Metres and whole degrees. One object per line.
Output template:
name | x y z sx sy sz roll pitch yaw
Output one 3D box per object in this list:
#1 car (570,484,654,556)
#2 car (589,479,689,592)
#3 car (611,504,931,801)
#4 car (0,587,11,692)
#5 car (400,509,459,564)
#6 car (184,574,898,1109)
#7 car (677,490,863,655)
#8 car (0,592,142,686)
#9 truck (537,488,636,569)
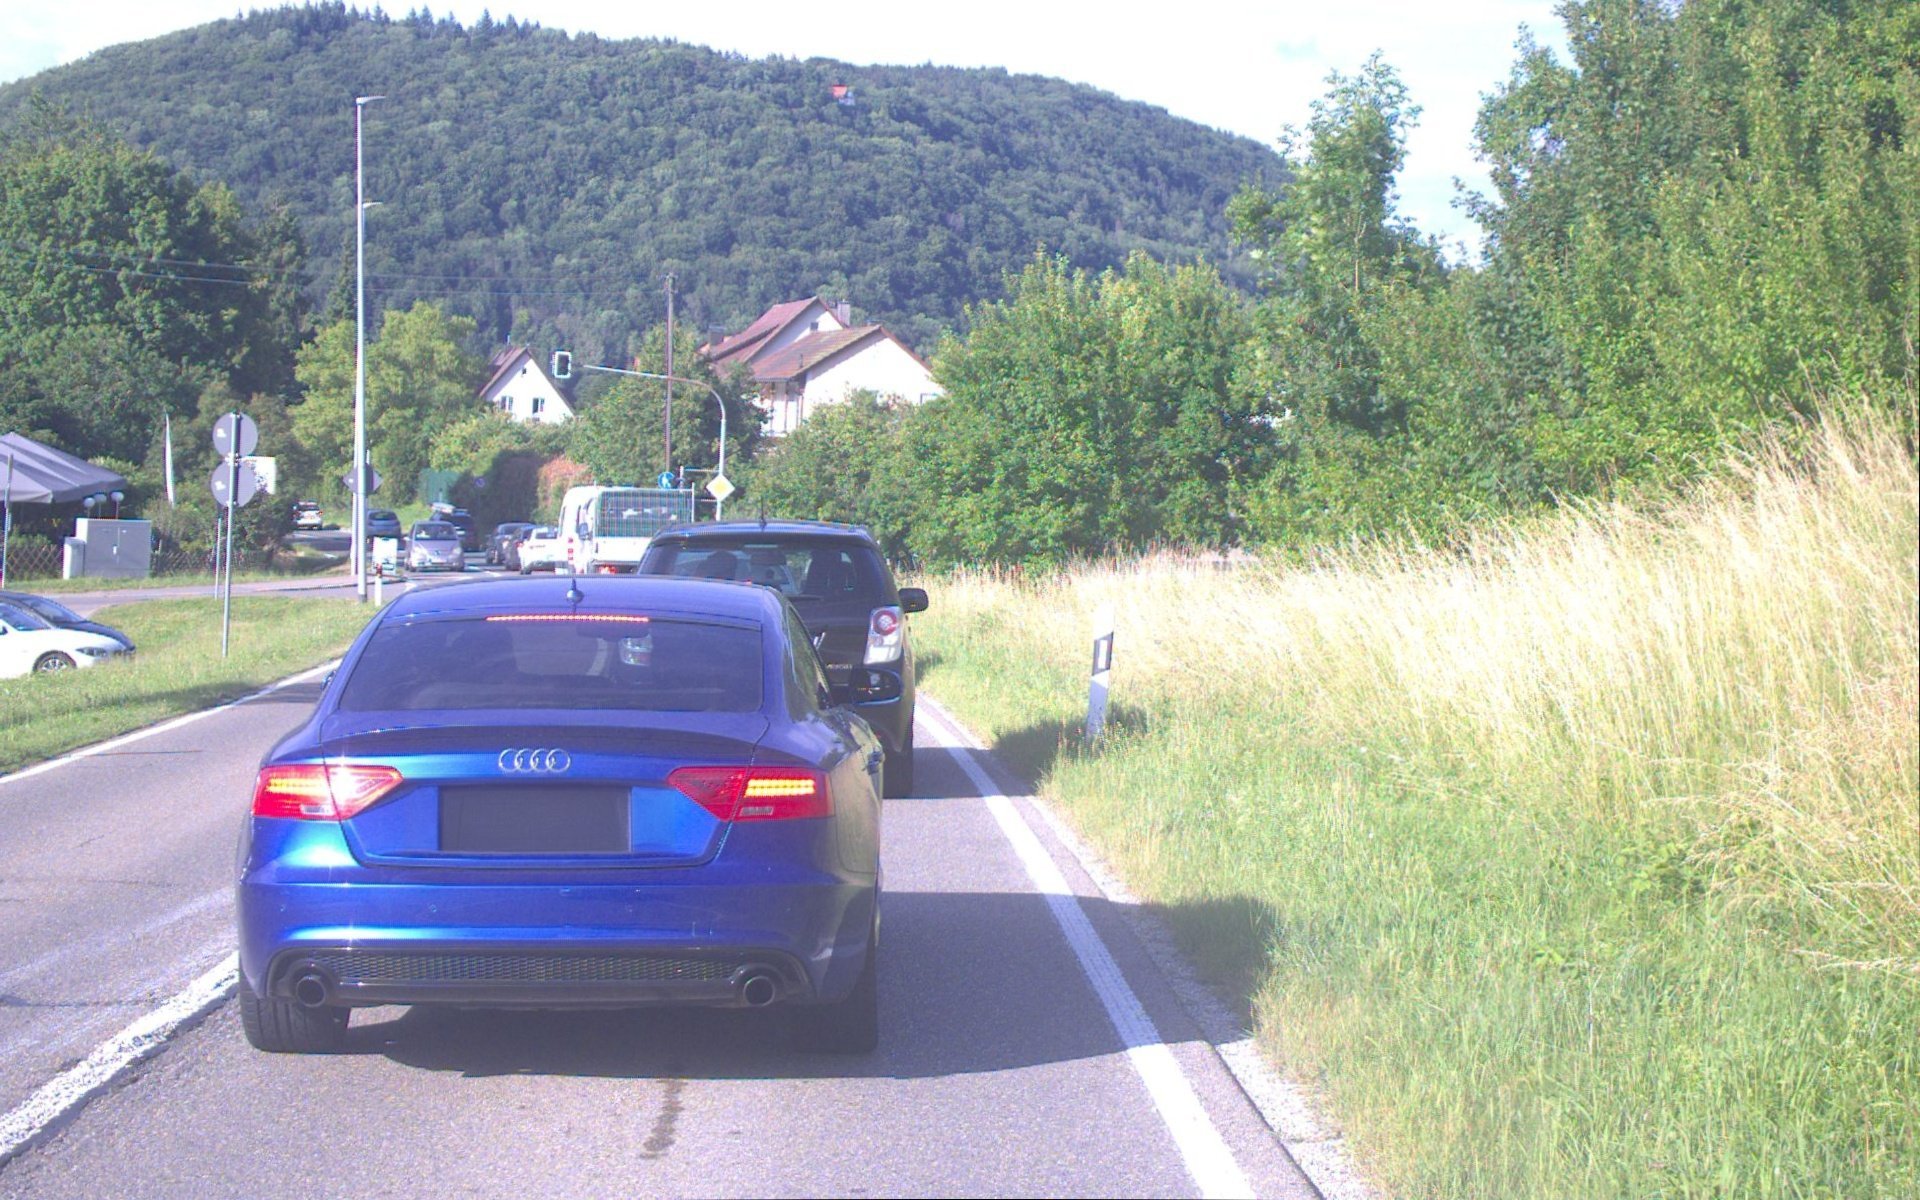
car | -8.257 -1.877 81.382 1.745 1.634 4.001 1 0 -9
car | -6.507 -1.291 69.341 1.745 2.188 4.001 1 0 -9
car | -1.070 0.275 21.169 1.746 1.634 4.000 1 0 0
car | -16.980 0.588 53.066 4.026 1.631 1.999 1 0 8
car | -16.476 -1.964 106.649 1.734 1.656 3.472 1 0 -9
car | -1.124 0.613 10.927 1.795 1.383 4.000 0 0 0
car | -1.974 -0.296 36.807 1.804 1.634 4.463 1 0 -1
car | -16.371 0.624 57.620 4.815 1.488 1.880 1 0 8
truck | -9.410 -1.763 86.242 1.697 1.947 5.924 1 0 -14
